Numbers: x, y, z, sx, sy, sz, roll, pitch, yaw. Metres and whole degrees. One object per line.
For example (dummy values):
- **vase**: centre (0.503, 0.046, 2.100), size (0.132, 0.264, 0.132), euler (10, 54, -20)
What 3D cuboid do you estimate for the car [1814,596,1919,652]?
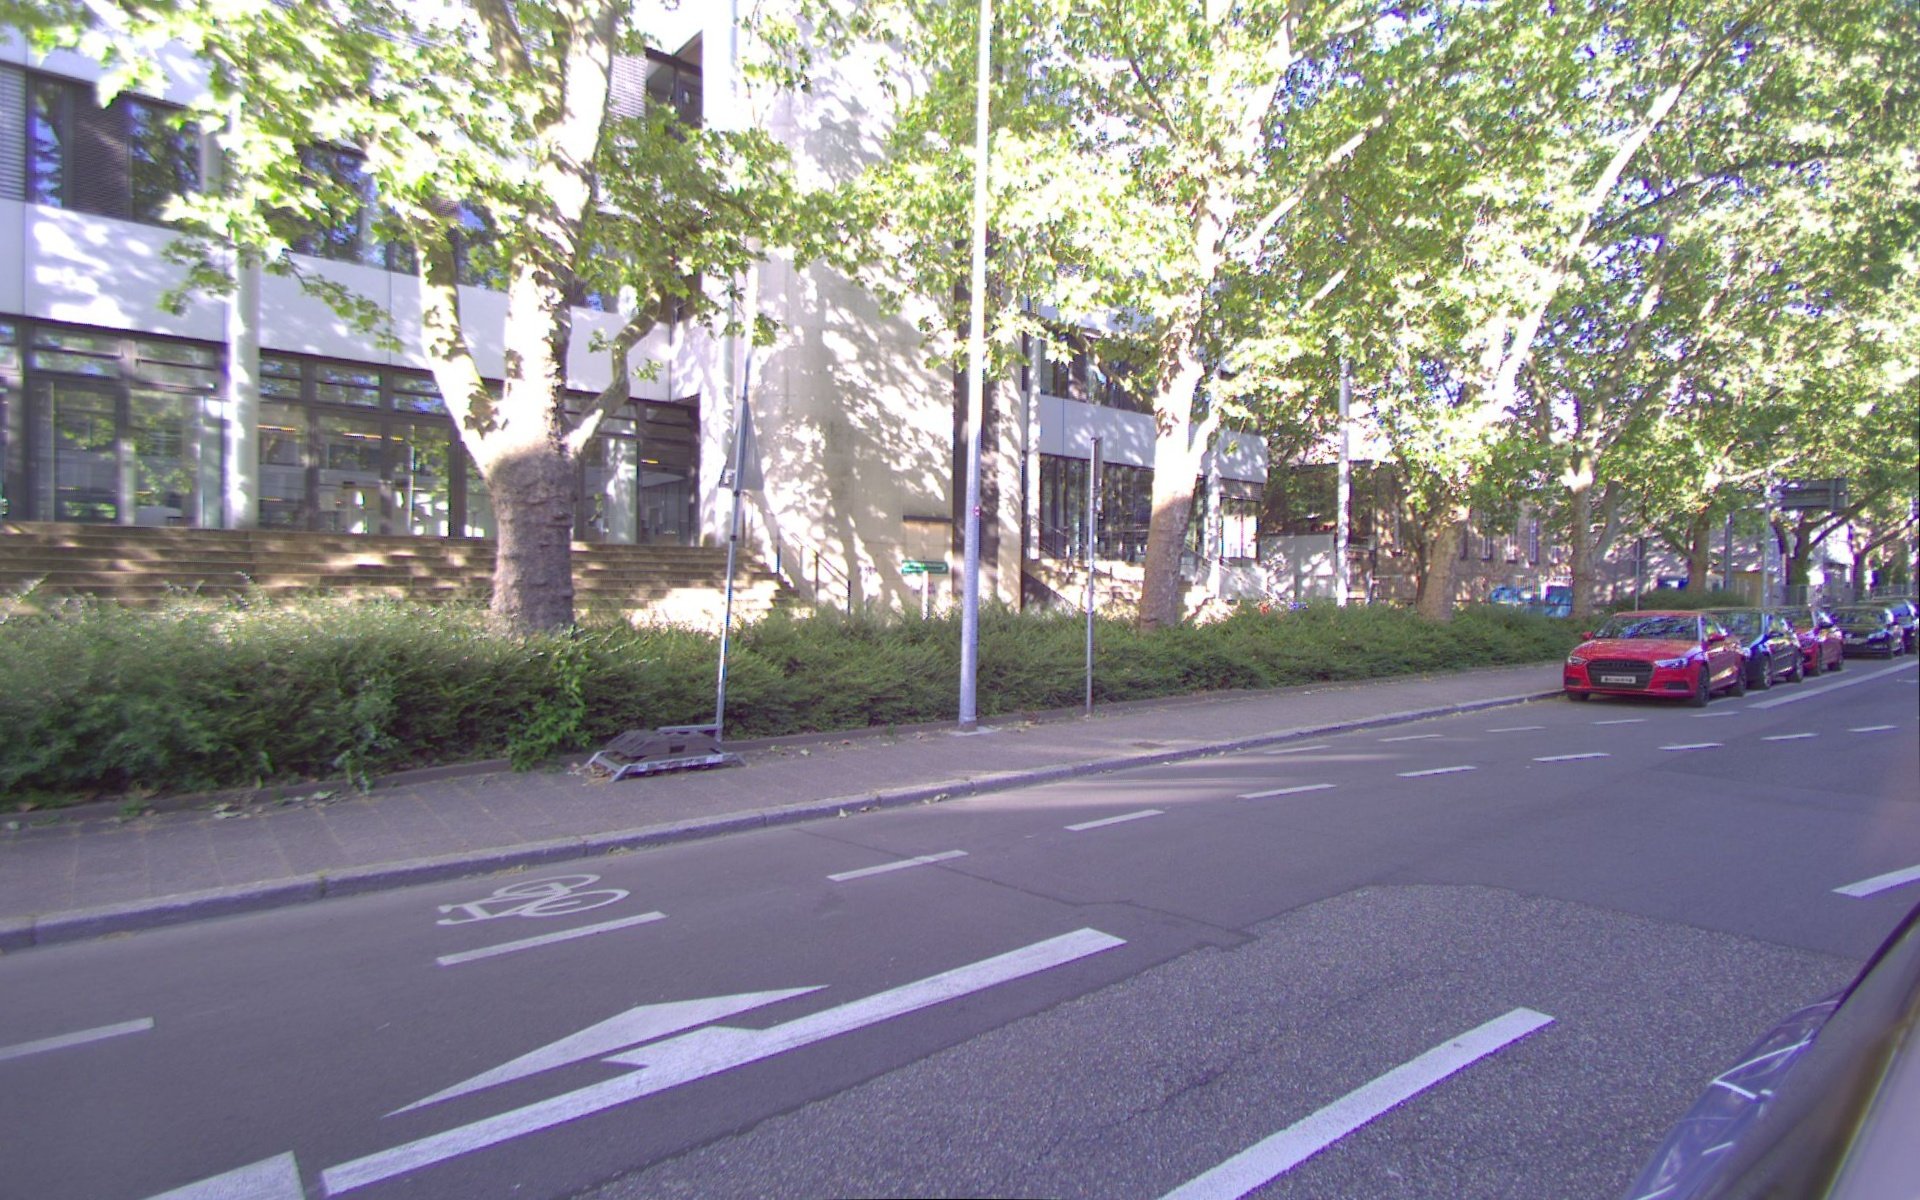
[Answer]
- **car**: centre (25.791, 0.622, 28.608), size (4.403, 1.469, 1.865), euler (0, 0, -41)

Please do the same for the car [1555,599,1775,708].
- **car**: centre (11.318, 0.740, 16.137), size (4.403, 1.469, 1.865), euler (0, 0, -41)

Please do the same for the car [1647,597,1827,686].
- **car**: centre (14.766, 0.693, 19.138), size (4.403, 1.469, 1.865), euler (0, 0, -41)

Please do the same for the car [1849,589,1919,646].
- **car**: centre (29.571, 0.514, 31.802), size (4.403, 1.689, 1.865), euler (0, 0, -41)

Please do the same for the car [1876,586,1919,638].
- **car**: centre (33.909, 0.395, 35.692), size (4.403, 1.781, 1.865), euler (0, 0, -41)

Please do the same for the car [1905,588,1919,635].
- **car**: centre (38.875, 0.444, 39.961), size (4.403, 1.781, 1.865), euler (0, 0, -41)

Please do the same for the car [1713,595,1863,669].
- **car**: centre (18.434, 0.638, 22.475), size (4.403, 1.469, 1.865), euler (0, 0, -41)
